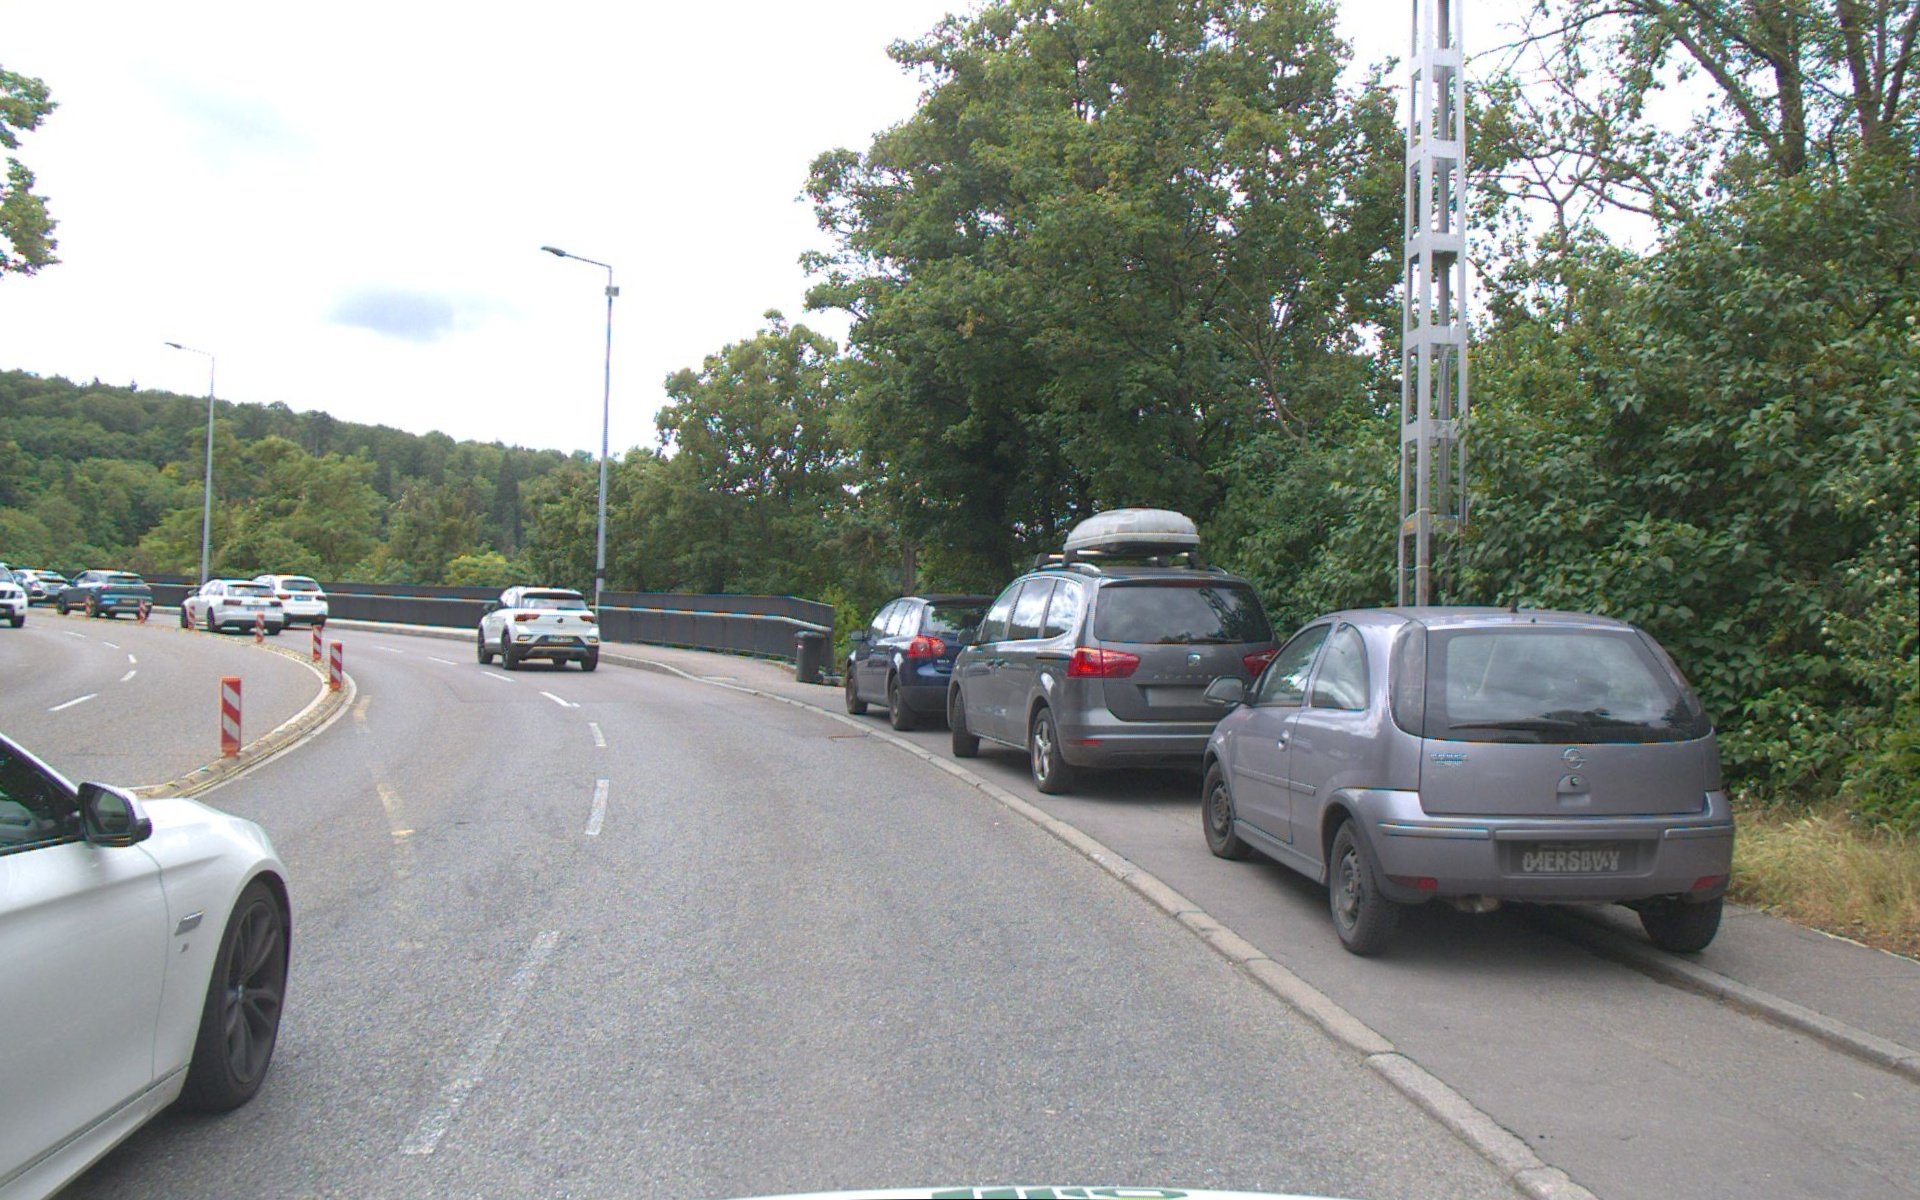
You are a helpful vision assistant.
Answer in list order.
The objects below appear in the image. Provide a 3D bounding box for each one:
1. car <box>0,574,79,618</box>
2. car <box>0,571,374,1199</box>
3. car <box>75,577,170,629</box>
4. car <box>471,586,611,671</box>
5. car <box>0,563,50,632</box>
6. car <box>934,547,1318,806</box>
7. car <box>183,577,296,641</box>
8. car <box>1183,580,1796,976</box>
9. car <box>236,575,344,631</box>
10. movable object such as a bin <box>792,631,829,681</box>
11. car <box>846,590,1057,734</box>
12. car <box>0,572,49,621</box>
[{"bbox_3d":[-36.827,-0.171,65.772,3.463,1.552,1.694,3,-1,34],"label":"car"},{"bbox_3d":[-2.791,0.661,3.132,1.811,1.492,4.875,3,0,-4],"label":"car"},{"bbox_3d":[-28.293,0.083,55.821,1.981,1.568,3.952,3,-1,-40],"label":"car"},{"bbox_3d":[-8.343,0.549,32.738,1.845,1.563,3.769,2,-1,-28],"label":"car"},{"bbox_3d":[-27.232,-0.111,46.527,1.898,1.860,5.231,1,0,-40],"label":"car"},{"bbox_3d":[1.169,0.545,13.957,1.768,1.803,4.591,2,0,-14],"label":"car"},{"bbox_3d":[-20.393,0.246,46.748,1.894,1.601,3.944,3,-1,-39],"label":"car"},{"bbox_3d":[2.315,0.696,8.350,1.608,1.489,3.997,1,0,-3],"label":"car"},{"bbox_3d":[-21.361,0.080,52.645,1.982,1.614,3.941,3,-1,-41],"label":"car"},{"bbox_3d":[-2.811,1.046,31.154,0.513,0.896,0.528,3,-1,-24],"label":"movable object such as a bin"},{"bbox_3d":[-0.218,0.659,19.705,1.631,1.513,4.021,2,0,-13],"label":"car"},{"bbox_3d":[-36.445,-0.185,62.487,3.916,1.719,1.817,3,-1,32],"label":"car"}]
